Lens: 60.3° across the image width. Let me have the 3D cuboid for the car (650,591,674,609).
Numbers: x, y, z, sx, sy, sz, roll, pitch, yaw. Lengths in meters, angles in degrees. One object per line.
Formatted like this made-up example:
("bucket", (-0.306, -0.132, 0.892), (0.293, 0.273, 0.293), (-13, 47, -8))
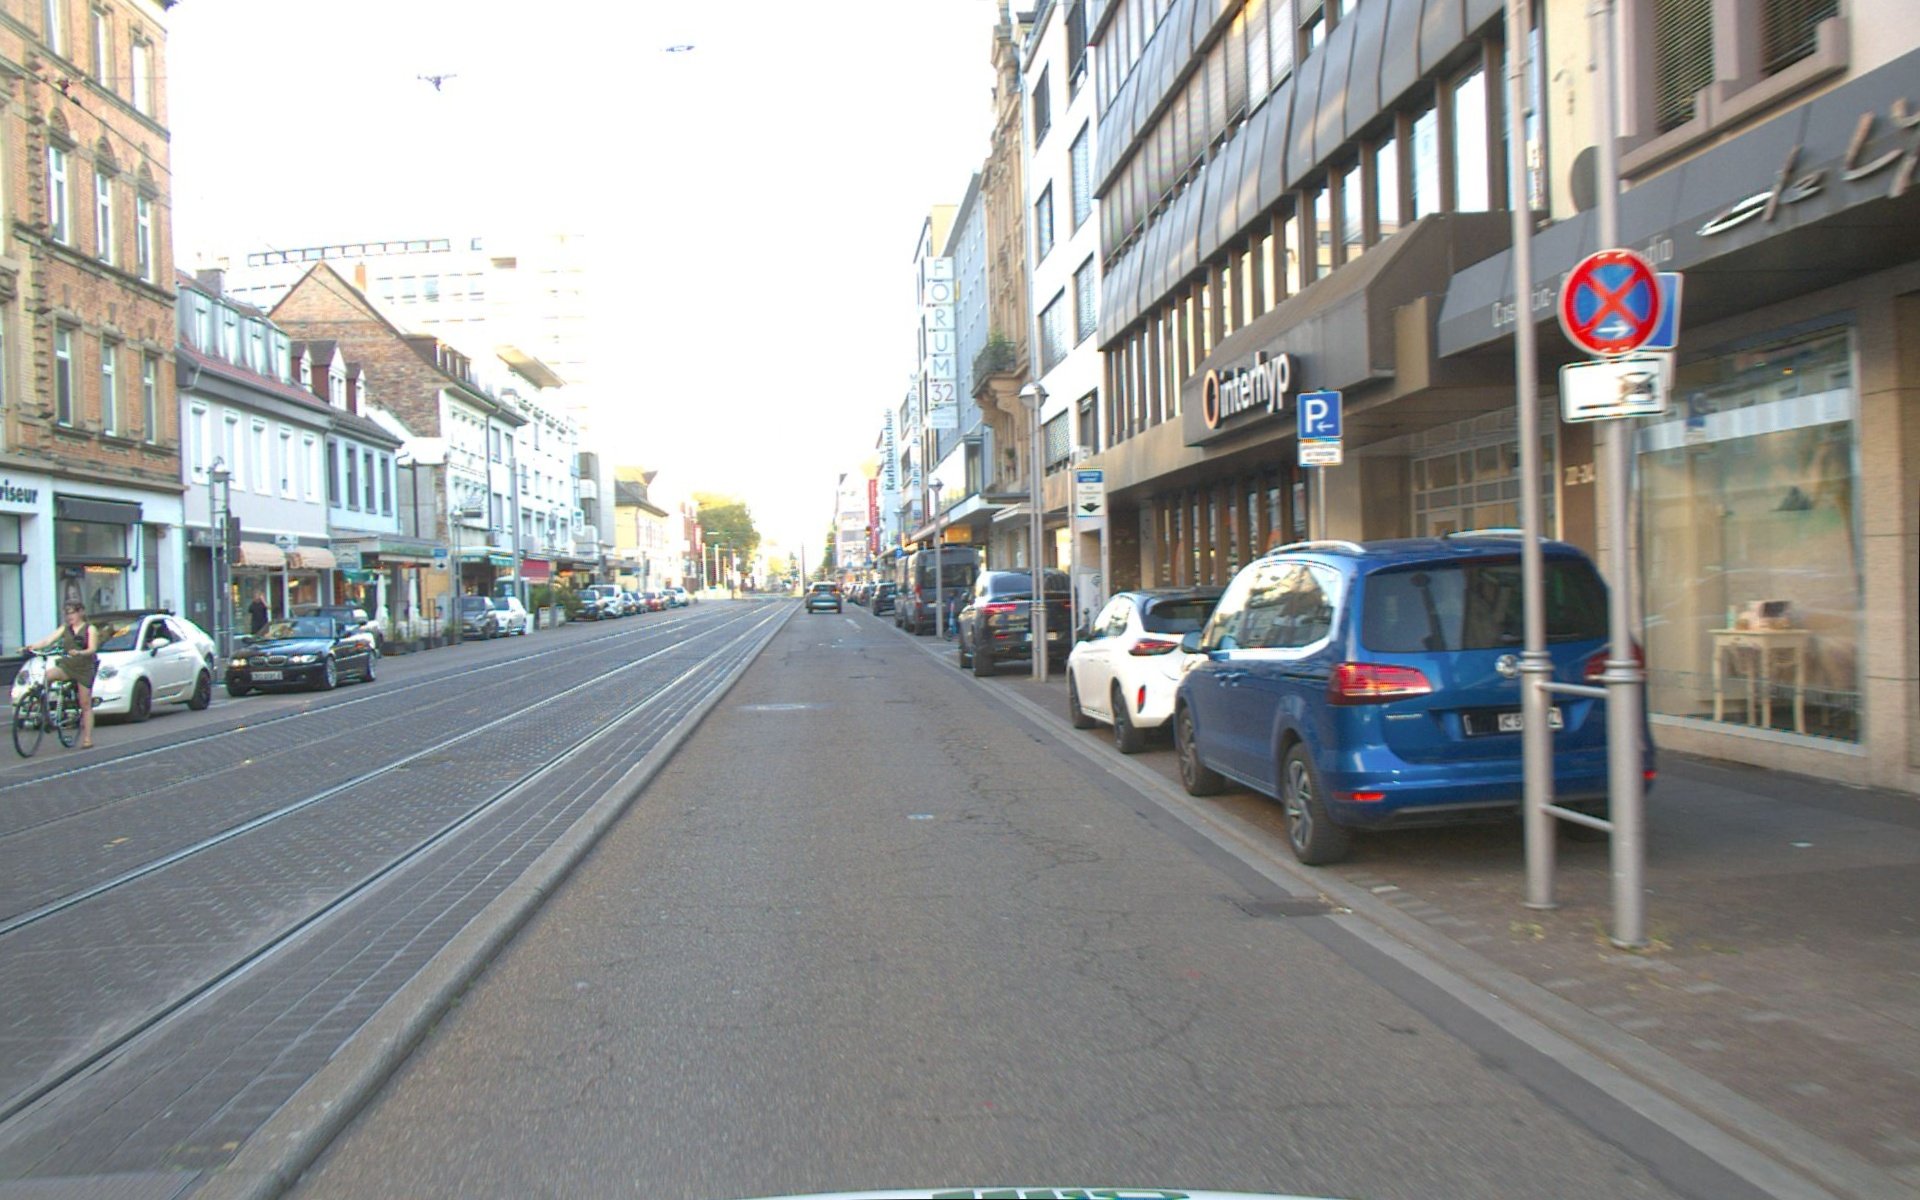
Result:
("car", (-25.309, 0.022, 140.517), (1.756, 1.475, 3.887), (0, 0, -6))

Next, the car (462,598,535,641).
("car", (-17.727, 0.711, 63.695), (1.813, 1.531, 4.837), (0, 0, -5))

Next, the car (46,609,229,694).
("car", (-15.343, 0.916, 31.086), (1.725, 1.414, 4.267), (0, 0, -7))

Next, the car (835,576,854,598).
("car", (-12.433, -1.416, 178.161), (1.906, 2.182, 4.541), (-4, 1, -4))

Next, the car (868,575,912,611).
("car", (-3.448, -0.346, 80.494), (1.906, 1.571, 4.541), (-4, 1, -4))

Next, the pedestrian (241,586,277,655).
("pedestrian", (-18.688, 0.541, 44.118), (0.635, 1.803, 0.854), (0, 0, -5))

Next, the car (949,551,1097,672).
("car", (0.983, 0.155, 28.455), (1.945, 1.764, 4.667), (-4, 1, -4))

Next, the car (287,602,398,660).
("car", (-16.104, 0.785, 43.290), (1.700, 1.414, 3.861), (0, 0, -4))

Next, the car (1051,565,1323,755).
("car", (2.083, 0.499, 16.283), (1.732, 1.511, 3.868), (-4, 1, -5))

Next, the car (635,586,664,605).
("car", (-22.915, -0.370, 122.139), (1.756, 1.362, 3.887), (0, 0, -6))

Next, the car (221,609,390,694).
("car", (-11.783, 0.885, 30.056), (1.635, 1.249, 4.269), (-4, 1, -5))

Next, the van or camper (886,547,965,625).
("van or camper", (-1.277, -0.487, 57.886), (2.147, 2.468, 5.510), (-4, 1, -6))

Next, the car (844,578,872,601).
("car", (-7.654, -0.807, 123.503), (1.906, 1.571, 4.541), (-4, 1, -4))

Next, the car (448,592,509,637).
("car", (-17.209, 0.507, 59.207), (1.561, 1.531, 2.809), (0, 0, -6))

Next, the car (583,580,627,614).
("car", (-21.042, -0.203, 98.153), (1.880, 1.969, 4.837), (0, 0, -5))

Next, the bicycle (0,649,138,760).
("bicycle", (-9.841, 1.122, 18.246), (0.680, 1.052, 2.079), (-2, 1, -6))

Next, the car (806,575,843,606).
("car", (-7.413, -0.540, 90.726), (1.905, 1.572, 4.541), (-1, 1, -4))

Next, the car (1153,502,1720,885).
("car", (2.638, 0.431, 10.454), (1.878, 1.746, 4.559), (-4, 1, -4))

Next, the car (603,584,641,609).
("car", (-21.636, -0.251, 106.056), (1.880, 1.547, 4.624), (0, 0, -6))

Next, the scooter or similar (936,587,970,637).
("scooter or similar", (-0.170, 0.315, 43.516), (0.347, 1.245, 1.114), (-4, 1, 27))

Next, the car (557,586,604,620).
("car", (-20.670, 0.135, 90.259), (1.880, 1.794, 4.425), (0, 0, -5))

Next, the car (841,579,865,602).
("car", (-9.039, -0.816, 139.858), (1.906, 1.732, 4.541), (-4, 1, -4))

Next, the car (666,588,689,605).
("car", (-25.037, -0.281, 146.622), (1.756, 1.475, 3.887), (0, 0, -6))

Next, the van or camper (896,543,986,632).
("van or camper", (-0.668, -0.388, 51.543), (2.147, 2.468, 6.126), (-4, 1, -5))

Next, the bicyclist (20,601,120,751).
("bicyclist", (-9.855, 0.824, 18.334), (0.680, 1.593, 0.798), (-2, 0, -7))

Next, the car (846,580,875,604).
("car", (-7.113, -0.601, 118.417), (1.906, 1.571, 4.541), (-4, 1, -4))

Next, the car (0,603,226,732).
("car", (-12.013, 0.892, 23.582), (1.635, 1.531, 3.676), (-4, 1, -5))
